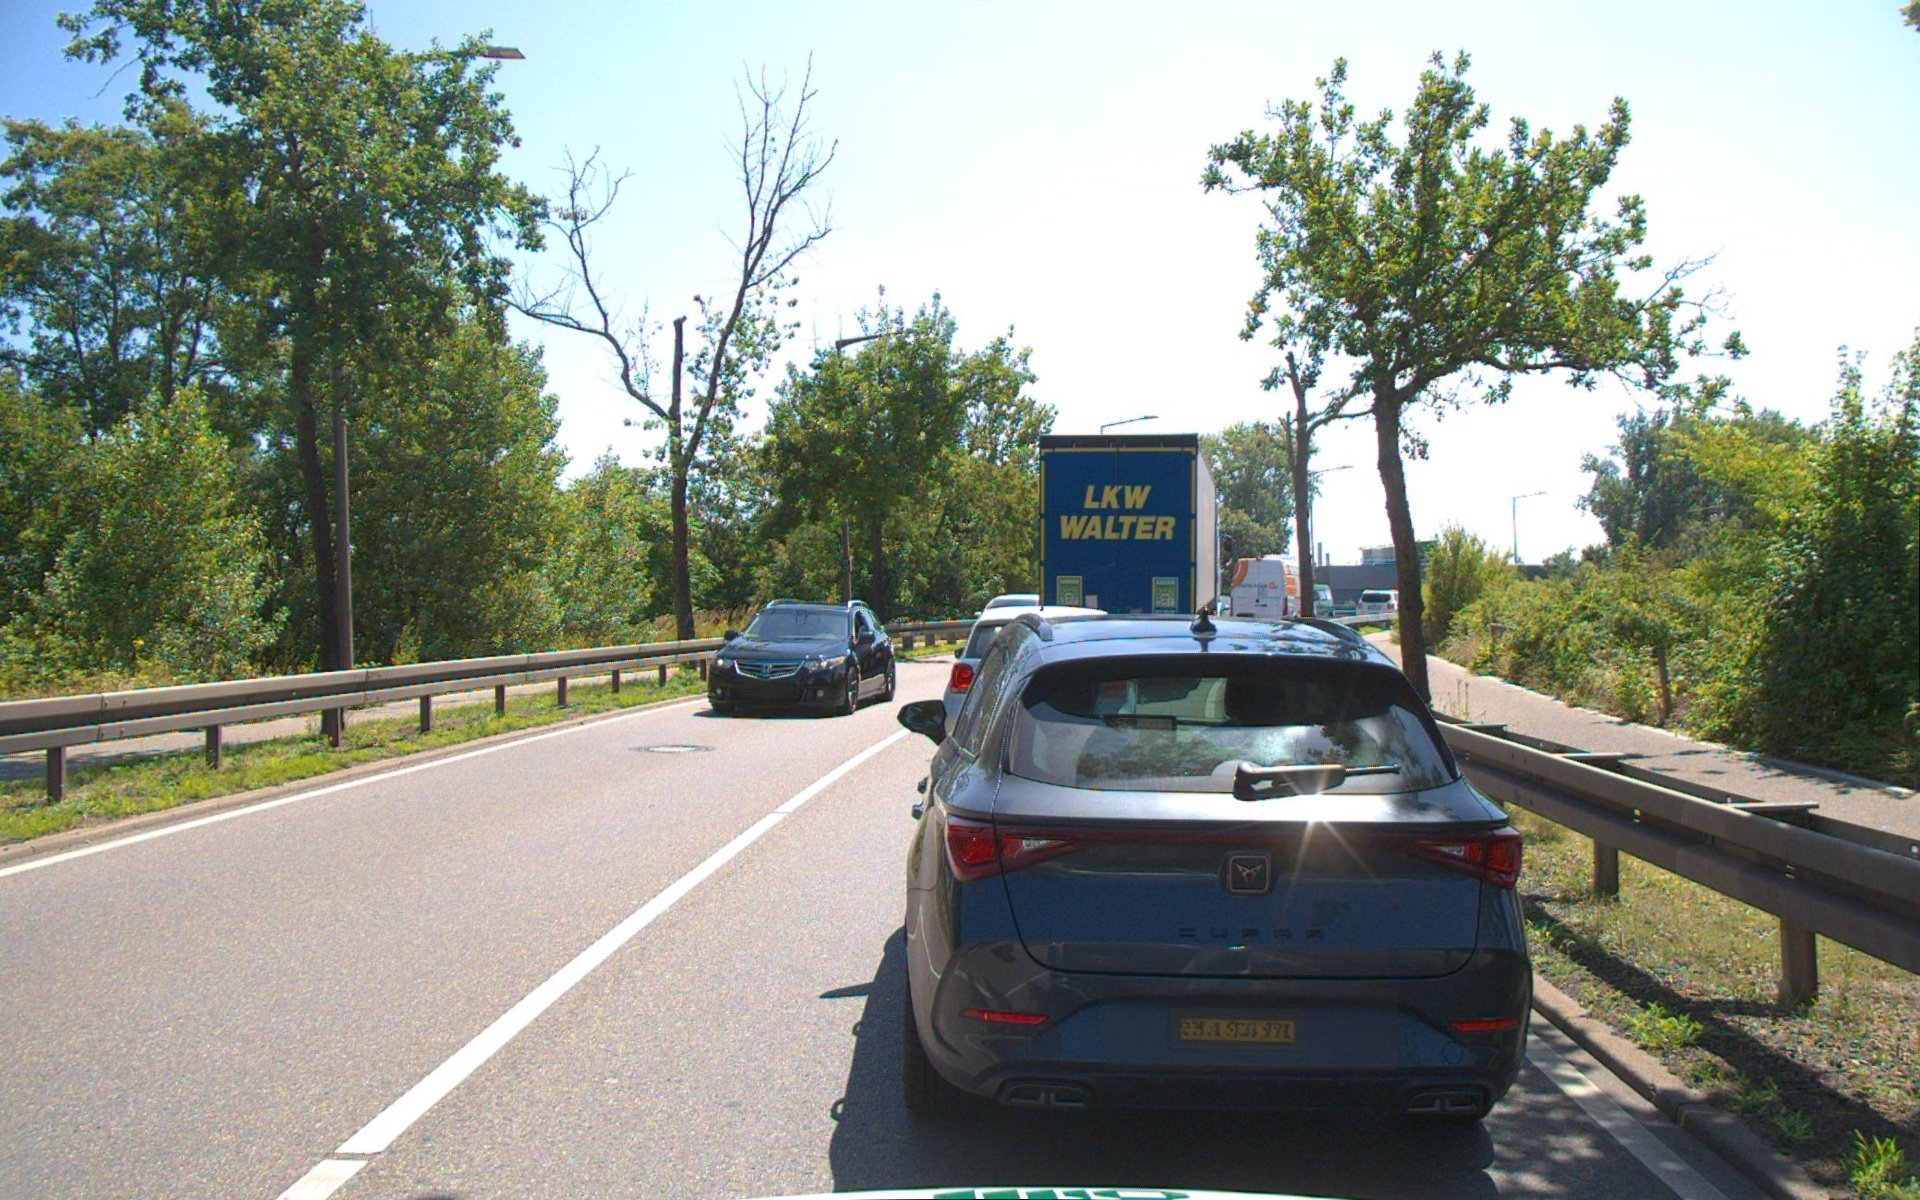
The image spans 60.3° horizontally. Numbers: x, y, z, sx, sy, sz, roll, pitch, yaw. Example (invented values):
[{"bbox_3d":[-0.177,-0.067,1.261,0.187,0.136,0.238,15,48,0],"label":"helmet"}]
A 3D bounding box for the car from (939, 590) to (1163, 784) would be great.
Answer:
[{"bbox_3d":[0.764,0.698,15.290,1.772,1.534,4.000,1,0,1],"label":"car"}]

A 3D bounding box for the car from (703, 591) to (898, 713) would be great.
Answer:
[{"bbox_3d":[-2.018,0.616,22.141,1.821,1.445,4.260,1,0,5],"label":"car"}]

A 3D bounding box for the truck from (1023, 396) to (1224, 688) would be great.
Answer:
[{"bbox_3d":[3.872,-0.909,34.204,2.887,4.526,16.812,1,0,10],"label":"truck"}]

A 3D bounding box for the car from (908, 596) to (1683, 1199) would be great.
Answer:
[{"bbox_3d":[0.735,0.731,5.610,1.708,1.457,3.879,1,0,0],"label":"car"}]

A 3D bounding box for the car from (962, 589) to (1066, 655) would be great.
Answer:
[{"bbox_3d":[1.394,0.516,40.787,1.835,1.524,4.003,1,0,13],"label":"car"}]

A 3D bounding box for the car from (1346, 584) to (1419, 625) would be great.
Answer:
[{"bbox_3d":[18.735,0.196,73.188,1.956,1.742,4.611,1,0,30],"label":"car"}]

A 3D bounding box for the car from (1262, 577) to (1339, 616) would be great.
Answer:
[{"bbox_3d":[15.949,-0.145,77.235,2.090,1.710,4.870,1,0,30],"label":"car"}]

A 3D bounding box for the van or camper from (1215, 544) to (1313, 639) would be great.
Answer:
[{"bbox_3d":[10.483,-0.270,56.611,2.415,3.051,6.088,1,0,19],"label":"van or camper"}]
